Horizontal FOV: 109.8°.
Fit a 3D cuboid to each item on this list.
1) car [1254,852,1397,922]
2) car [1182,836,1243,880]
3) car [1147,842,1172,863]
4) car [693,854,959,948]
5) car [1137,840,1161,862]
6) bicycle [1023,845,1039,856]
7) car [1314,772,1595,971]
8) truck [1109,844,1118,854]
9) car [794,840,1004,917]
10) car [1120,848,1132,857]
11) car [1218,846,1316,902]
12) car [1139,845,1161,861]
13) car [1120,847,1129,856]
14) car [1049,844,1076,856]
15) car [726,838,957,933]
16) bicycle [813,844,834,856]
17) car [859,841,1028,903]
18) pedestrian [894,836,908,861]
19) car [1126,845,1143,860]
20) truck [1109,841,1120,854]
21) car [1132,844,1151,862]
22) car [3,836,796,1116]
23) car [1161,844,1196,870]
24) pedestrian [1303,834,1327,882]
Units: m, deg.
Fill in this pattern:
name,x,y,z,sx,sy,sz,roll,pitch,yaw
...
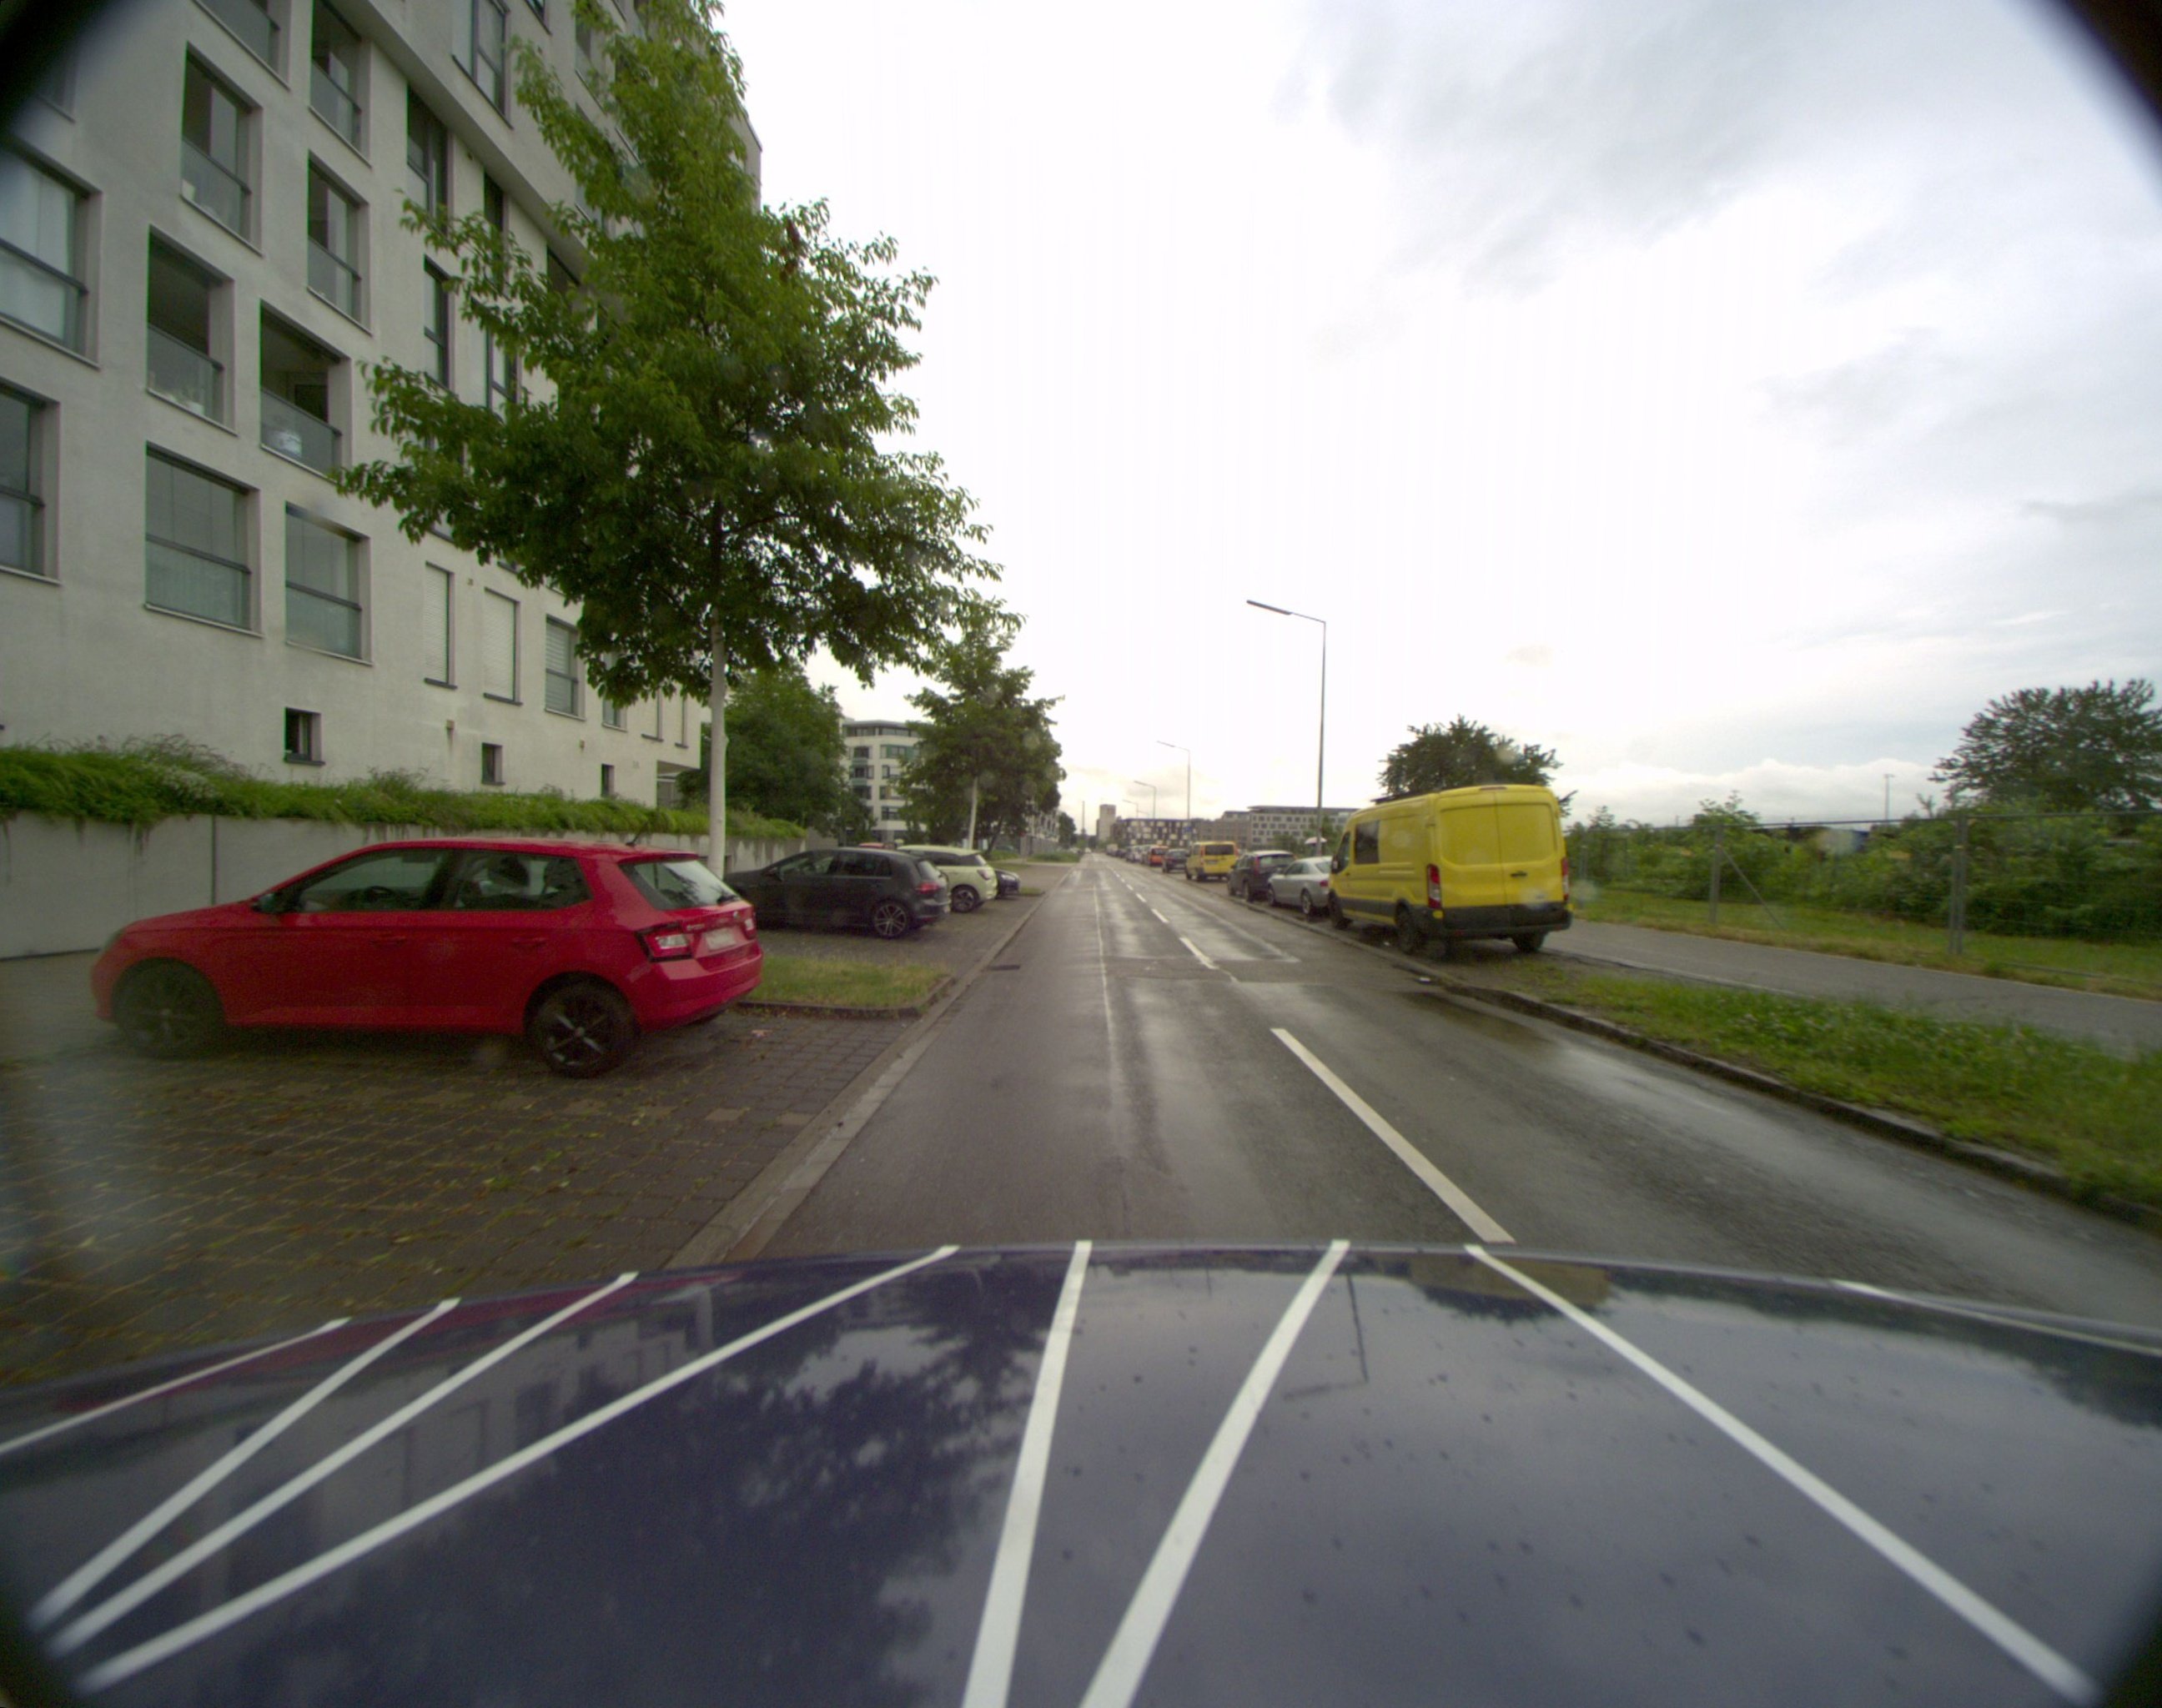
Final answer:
name,x,y,z,sx,sy,sz,roll,pitch,yaw
car,6.118,0.730,19.772,2.015,1.426,5.338,-2,1,0
car,6.343,0.134,37.396,2.022,1.945,6.064,-1,1,1
car,6.880,-0.177,66.903,1.944,1.757,4.331,1,1,3
car,-4.176,0.750,12.890,3.967,1.466,1.591,0,1,-1
car,7.048,-0.309,79.315,1.947,2.223,5.557,1,0,1
bicycle,-7.144,-0.529,108.625,2.189,1.514,0.631,2,1,21
car,6.050,0.207,13.459,2.197,2.679,6.081,-1,1,2
truck,9.187,-1.450,214.028,2.180,2.591,6.131,1,1,1
car,-4.229,0.550,18.129,4.499,1.473,1.692,4,1,0
car,7.619,-0.241,127.834,1.851,1.552,4.152,-1,1,1
car,5.988,0.564,25.108,1.999,1.585,5.016,-1,1,0
car,6.619,-0.136,72.963,1.688,1.493,4.891,1,1,1
car,8.556,-0.543,149.365,1.756,1.683,4.882,1,0,4
car,-2.884,-0.563,118.814,4.100,1.614,1.966,3,1,-1
car,-4.674,0.587,15.183,3.997,1.547,1.635,4,1,1
bicycle,-24.972,-0.400,73.661,2.477,1.081,0.728,2,1,42
car,-3.979,0.505,22.533,4.582,1.488,1.825,4,1,0
pedestrian,-14.915,-0.440,62.886,0.967,2.002,0.622,1,1,1
car,7.256,-0.195,103.047,1.960,1.891,4.994,1,1,1
truck,8.567,-1.667,193.978,2.442,3.051,6.699,0,1,0
car,7.090,-0.177,89.908,1.964,2.046,5.274,0,1,1
car,-4.414,0.711,5.435,3.997,1.443,1.820,3,2,0
car,6.395,0.187,50.100,1.808,1.552,4.033,-2,0,1
pedestrian,10.015,0.173,32.595,0.744,2.002,0.980,0,1,1
